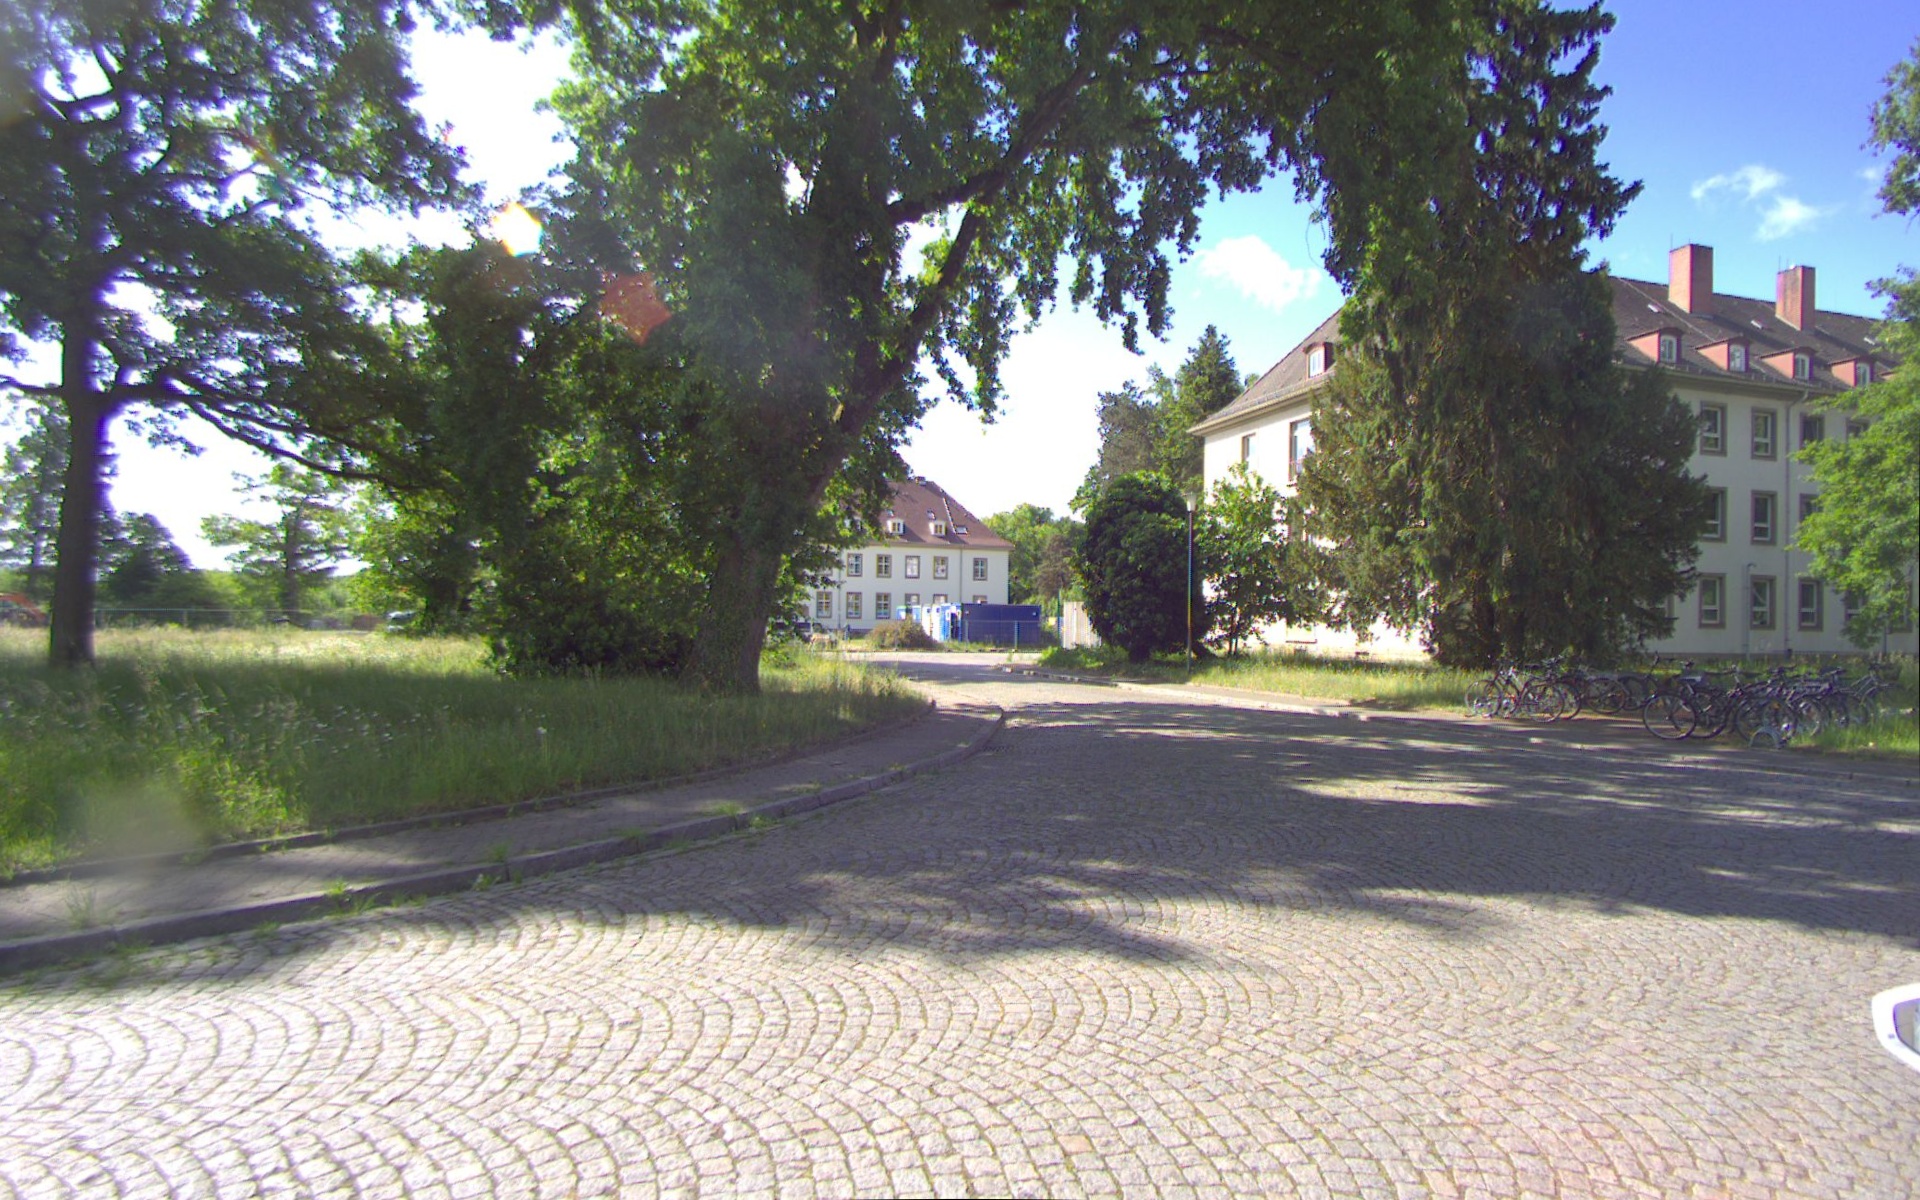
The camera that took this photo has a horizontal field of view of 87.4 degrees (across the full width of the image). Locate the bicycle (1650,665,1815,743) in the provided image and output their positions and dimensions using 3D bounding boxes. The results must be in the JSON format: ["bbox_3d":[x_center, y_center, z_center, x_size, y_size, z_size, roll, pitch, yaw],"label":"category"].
[{"bbox_3d":[11.519,1.522,15.031,1.893,1.072,0.473,-3,-4,44],"label":"bicycle"}]

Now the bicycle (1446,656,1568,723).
[{"bbox_3d":[10.101,1.623,18.603,0.566,1.117,1.896,0,-1,-41],"label":"bicycle"}]

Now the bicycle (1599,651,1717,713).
[{"bbox_3d":[14.198,1.644,20.488,0.565,1.117,1.900,0,0,-36],"label":"bicycle"}]

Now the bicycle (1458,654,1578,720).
[{"bbox_3d":[10.502,1.610,18.959,0.566,1.117,1.896,0,-1,-41],"label":"bicycle"}]

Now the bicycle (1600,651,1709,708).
[{"bbox_3d":[15.227,1.713,22.060,0.566,1.117,1.897,0,0,-40],"label":"bicycle"}]

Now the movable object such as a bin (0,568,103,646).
[{"bbox_3d":[-47.500,0.366,50.374,6.740,3.780,3.883,3,-2,-42],"label":"movable object such as a bin"}]

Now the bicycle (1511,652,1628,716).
[{"bbox_3d":[11.965,1.624,19.771,0.566,1.117,1.894,0,0,-45],"label":"bicycle"}]

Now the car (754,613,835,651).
[{"bbox_3d":[-11.291,2.212,68.542,5.191,2.468,1.984,2,-2,-17],"label":"car"}]

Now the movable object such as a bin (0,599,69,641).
[{"bbox_3d":[-51.293,1.088,54.601,5.576,2.153,2.525,0,-2,29],"label":"movable object such as a bin"}]

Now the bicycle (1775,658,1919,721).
[{"bbox_3d":[16.087,1.603,18.257,0.472,1.072,1.899,2,-4,-37],"label":"bicycle"}]

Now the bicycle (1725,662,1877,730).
[{"bbox_3d":[14.175,1.590,16.986,0.472,1.072,1.899,2,-4,-37],"label":"bicycle"}]

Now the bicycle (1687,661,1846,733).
[{"bbox_3d":[12.817,1.522,16.029,0.472,1.072,1.898,2,-4,-39],"label":"bicycle"}]

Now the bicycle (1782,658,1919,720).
[{"bbox_3d":[16.450,1.617,18.545,0.472,1.072,1.899,2,-4,-37],"label":"bicycle"}]

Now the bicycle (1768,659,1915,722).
[{"bbox_3d":[15.703,1.586,17.940,0.472,1.072,1.899,2,-4,-37],"label":"bicycle"}]

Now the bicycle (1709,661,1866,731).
[{"bbox_3d":[13.504,1.534,16.446,0.472,1.072,1.898,2,-4,-39],"label":"bicycle"}]

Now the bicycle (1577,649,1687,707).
[{"bbox_3d":[14.403,1.653,21.573,0.565,1.117,1.900,0,0,-36],"label":"bicycle"}]

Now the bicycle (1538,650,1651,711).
[{"bbox_3d":[13.029,1.629,20.674,0.566,1.117,1.894,0,0,-45],"label":"bicycle"}]

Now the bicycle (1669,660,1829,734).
[{"bbox_3d":[12.321,1.489,15.755,0.472,1.072,1.898,2,-4,-39],"label":"bicycle"}]

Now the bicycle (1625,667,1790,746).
[{"bbox_3d":[11.004,1.540,14.848,1.893,1.072,0.473,-3,-4,44],"label":"bicycle"}]
